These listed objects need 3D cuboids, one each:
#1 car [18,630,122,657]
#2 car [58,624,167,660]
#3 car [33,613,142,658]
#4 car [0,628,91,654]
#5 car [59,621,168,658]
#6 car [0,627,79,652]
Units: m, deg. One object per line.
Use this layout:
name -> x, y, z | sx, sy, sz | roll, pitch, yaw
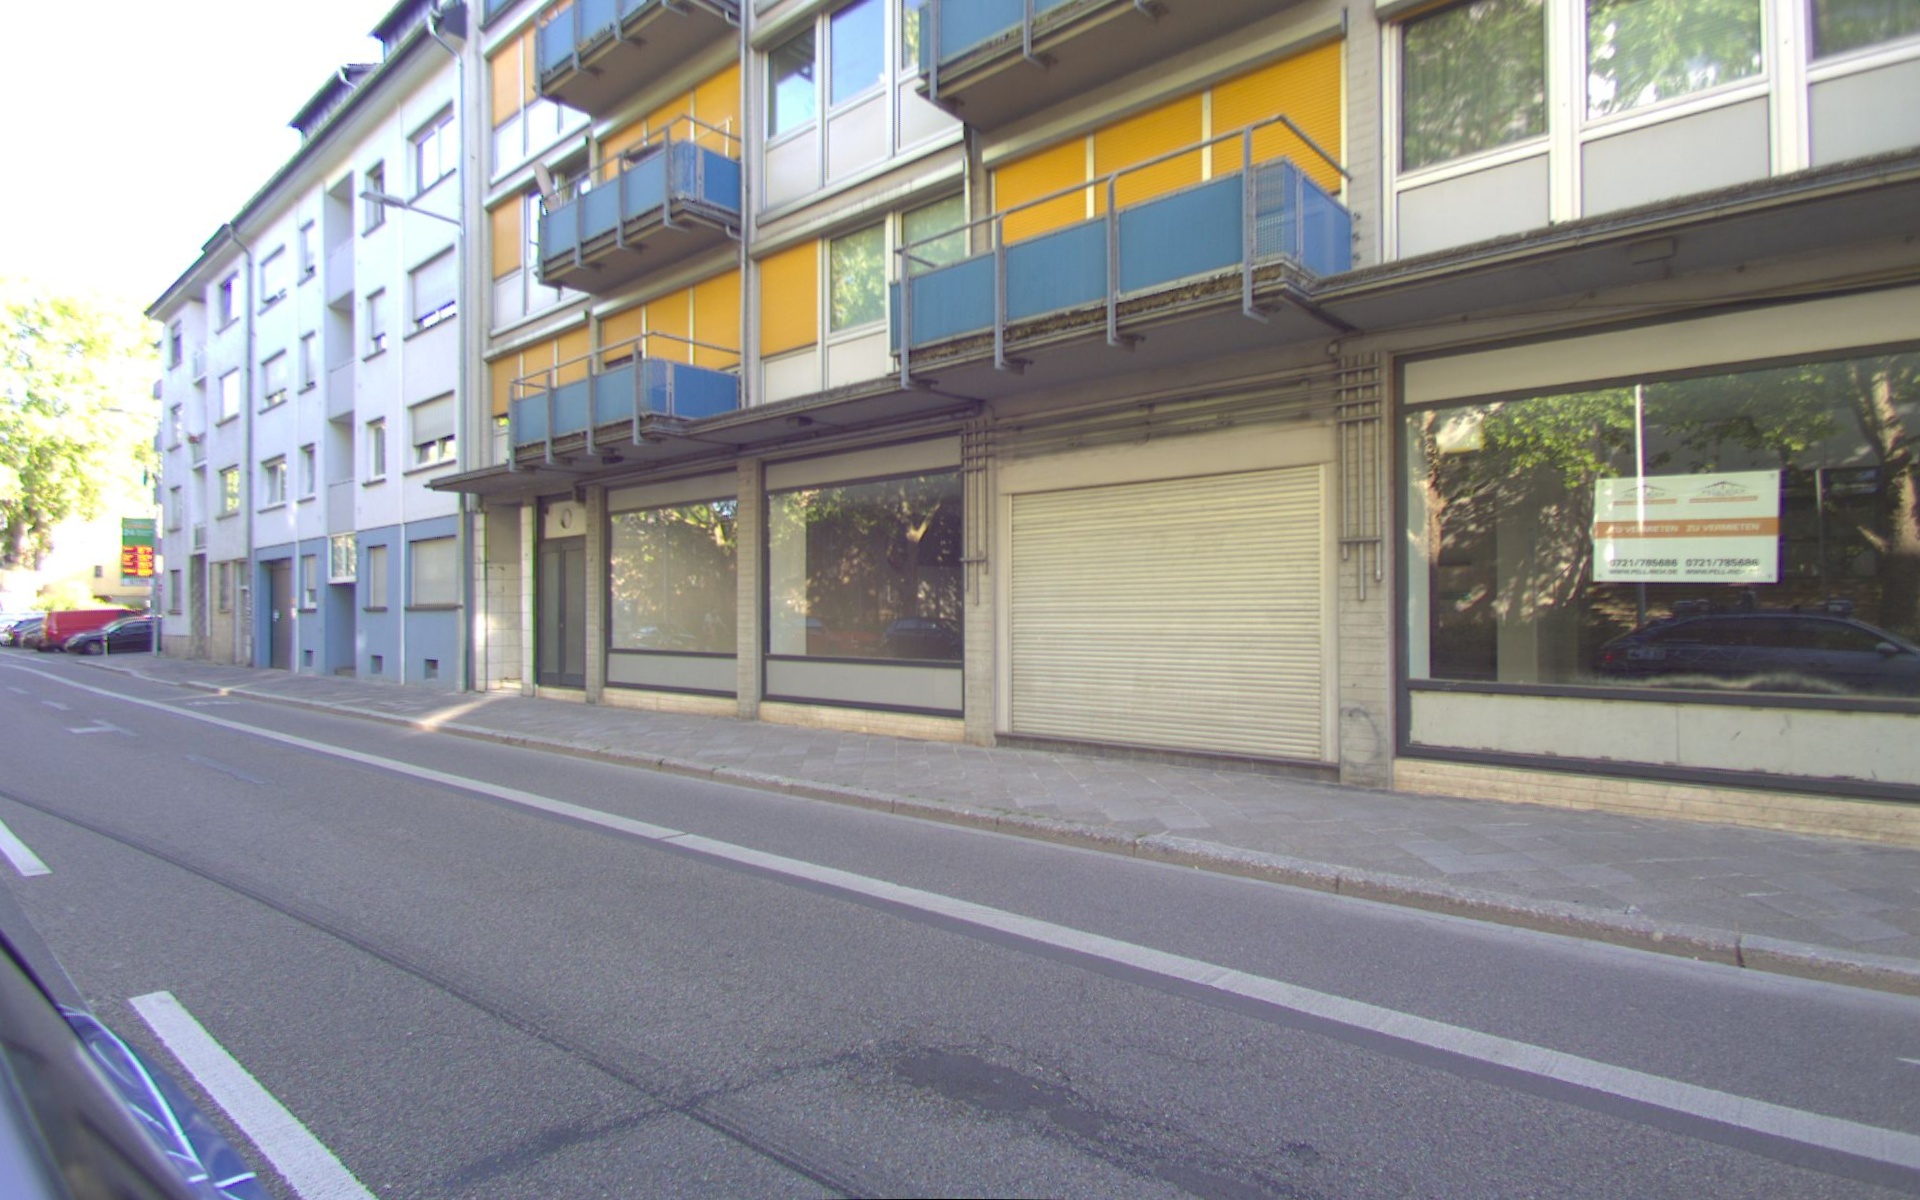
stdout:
car -> -42.813, 2.062, 48.736 | 1.345, 1.137, 3.638 | -1, 0, 43
car -> -36.675, 1.799, 43.841 | 1.490, 1.398, 3.462 | -1, 0, 43
car -> -40.651, 1.636, 47.221 | 1.488, 1.923, 3.642 | -4, -2, 39
car -> -50.445, 2.229, 55.873 | 1.345, 1.254, 3.638 | -1, 0, 43
car -> -38.192, 1.757, 45.721 | 1.490, 1.523, 3.638 | -1, 0, 43
car -> -52.259, 2.236, 57.502 | 1.345, 1.254, 3.228 | -1, 0, 43
